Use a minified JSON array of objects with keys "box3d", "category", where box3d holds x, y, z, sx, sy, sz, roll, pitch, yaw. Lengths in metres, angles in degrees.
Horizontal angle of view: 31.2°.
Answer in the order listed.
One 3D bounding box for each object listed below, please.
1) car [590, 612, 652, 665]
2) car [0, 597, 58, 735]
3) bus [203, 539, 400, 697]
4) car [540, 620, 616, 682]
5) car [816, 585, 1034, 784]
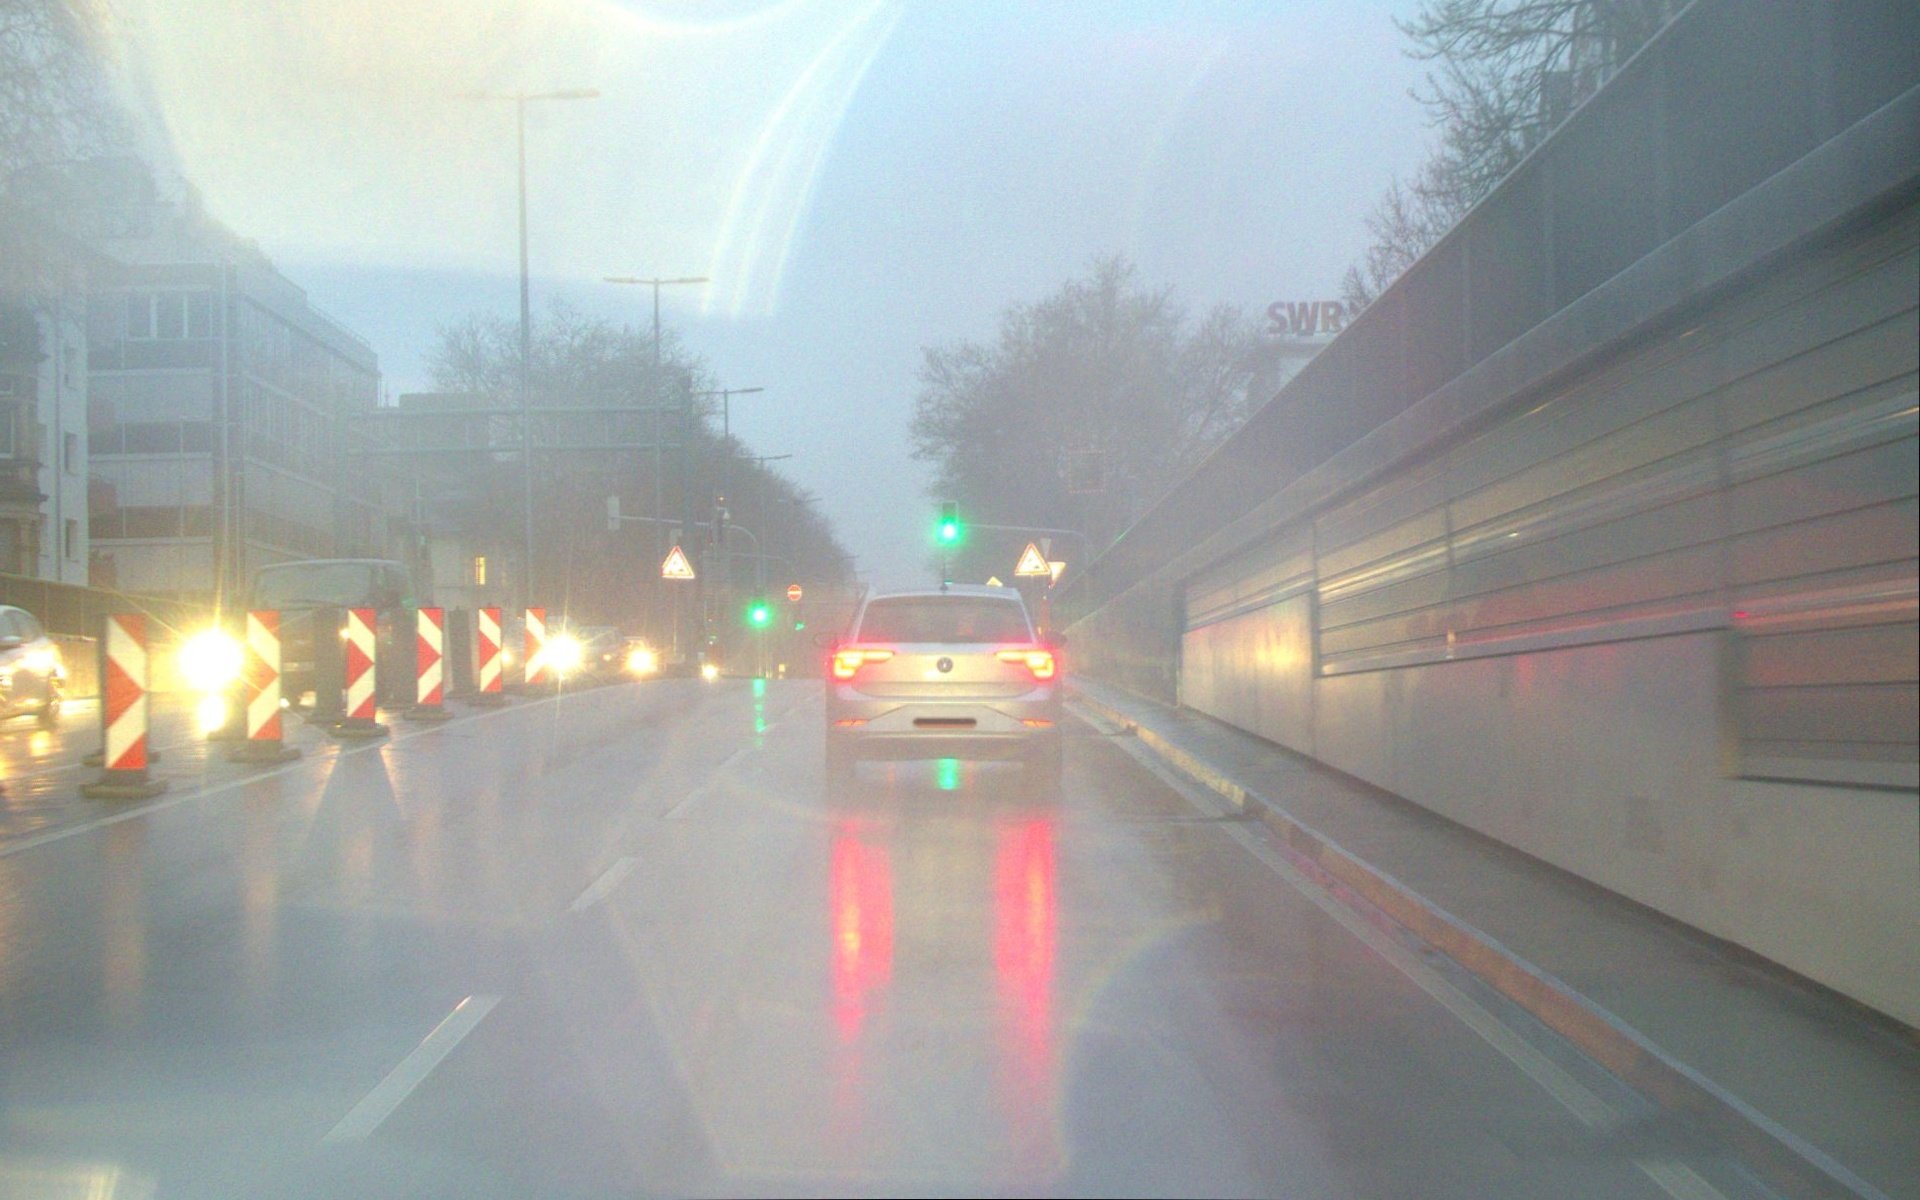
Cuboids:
[{"box3d":[-9.620,1.081,97.716,1.496,1.378,3.434,-2,1,-2],"category":"car"},{"box3d":[-11.417,0.771,38.363,1.674,1.486,3.874,-2,1,-1],"category":"car"},{"box3d":[-8.985,0.236,47.274,1.674,1.959,5.175,-4,0,-1],"category":"bus"},{"box3d":[-9.576,1.269,86.347,1.496,1.378,3.434,-2,1,-1],"category":"car"},{"box3d":[-0.264,0.637,25.967,1.532,1.393,3.433,0,-1,-1],"category":"car"}]
